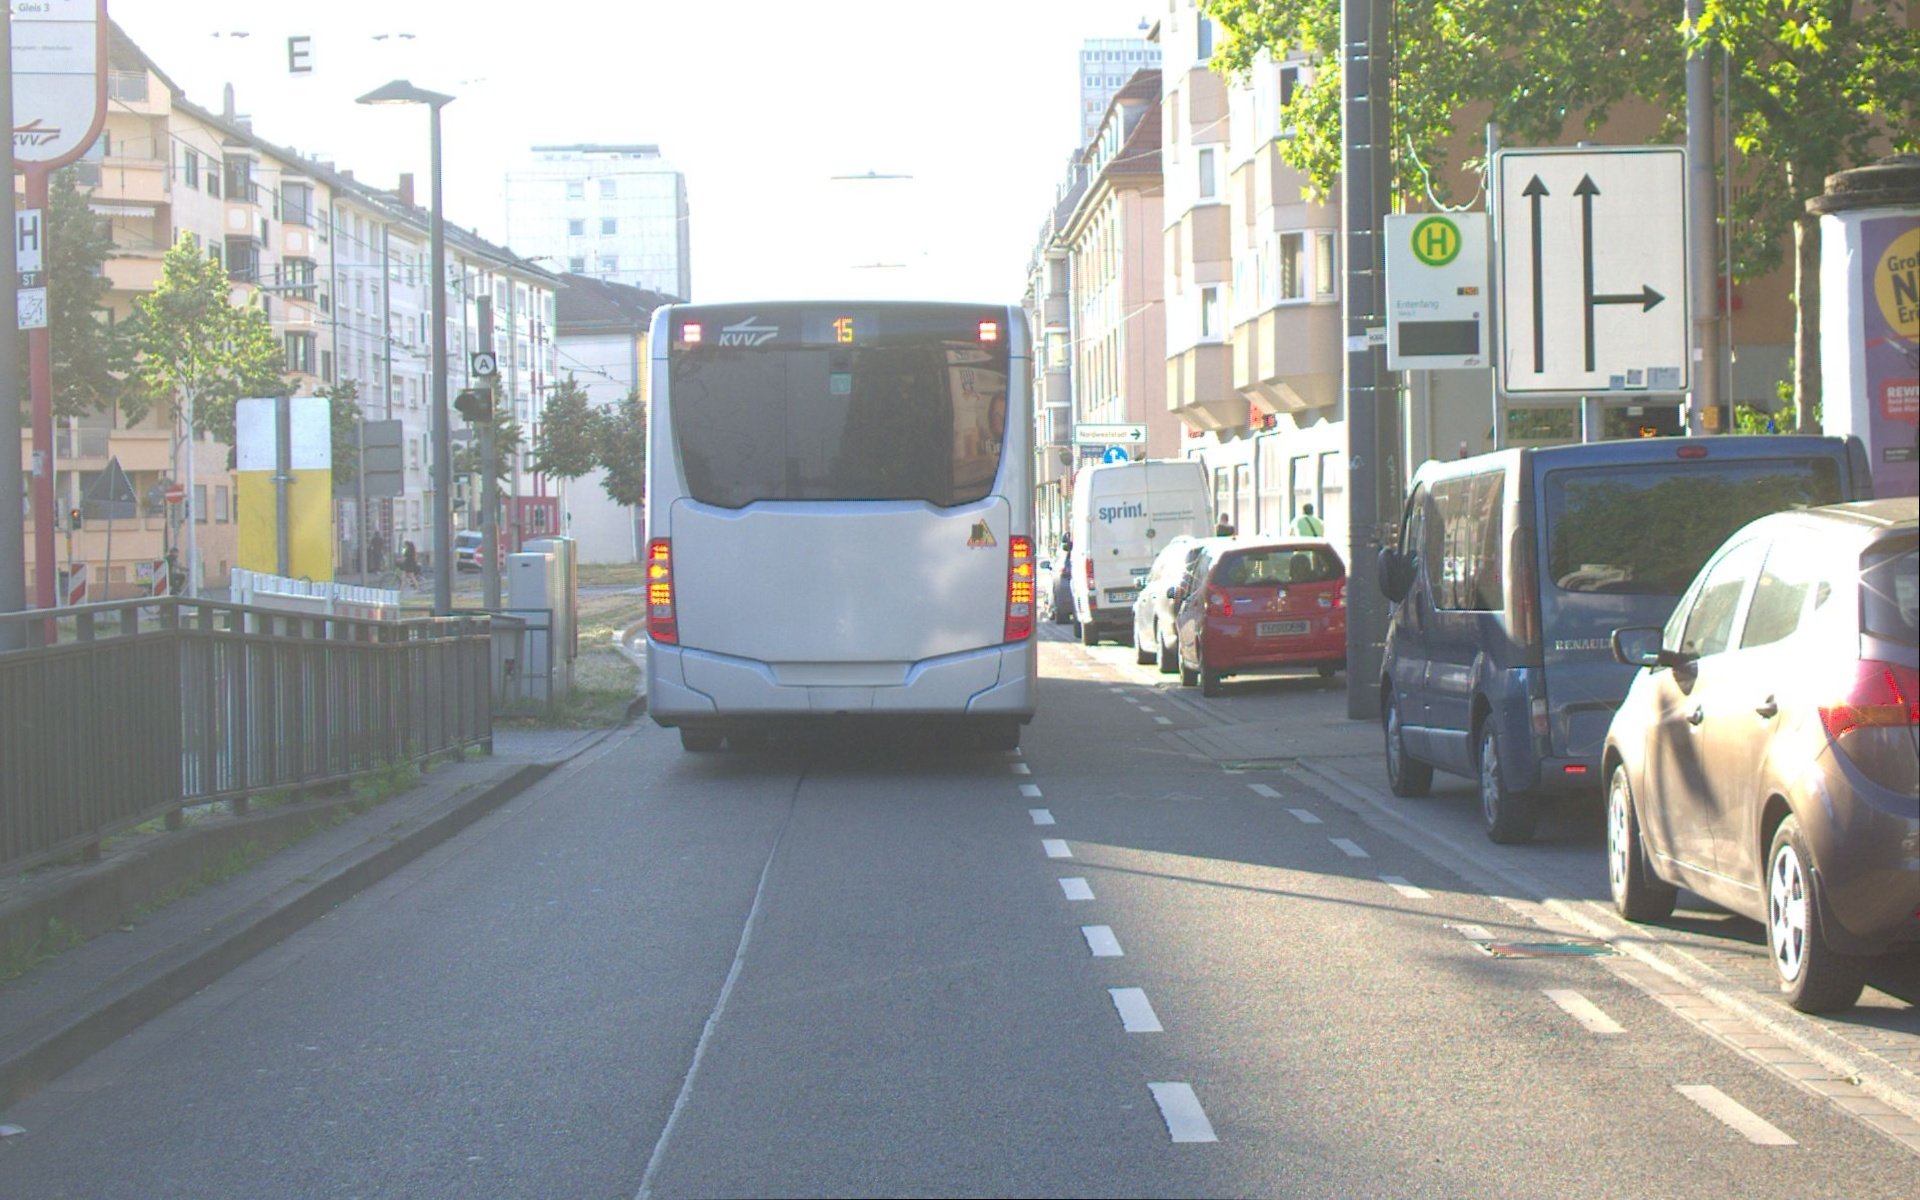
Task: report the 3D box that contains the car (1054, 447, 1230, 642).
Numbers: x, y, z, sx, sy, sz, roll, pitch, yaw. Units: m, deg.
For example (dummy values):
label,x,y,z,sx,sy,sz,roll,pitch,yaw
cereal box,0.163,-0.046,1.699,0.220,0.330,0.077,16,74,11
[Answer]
label,x,y,z,sx,sy,sz,roll,pitch,yaw
car,2.597,-0.827,50.376,2.017,2.542,5.785,-4,1,-1

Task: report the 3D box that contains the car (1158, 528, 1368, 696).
label,x,y,z,sx,sy,sz,roll,pitch,yaw
car,2.938,0.079,33.950,1.569,1.489,3.626,-3,1,-2

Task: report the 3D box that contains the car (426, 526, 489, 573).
label,x,y,z,sx,sy,sz,roll,pitch,yaw
car,-22.519,-2.276,154.171,1.994,2.007,4.000,-1,1,4

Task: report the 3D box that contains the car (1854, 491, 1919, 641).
label,x,y,z,sx,sy,sz,roll,pitch,yaw
car,11.086,-0.302,34.864,3.497,1.477,1.774,2,1,-2

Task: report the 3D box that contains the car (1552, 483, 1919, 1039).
label,x,y,z,sx,sy,sz,roll,pitch,yaw
car,3.357,0.420,12.082,1.795,1.625,4.000,-1,1,-1

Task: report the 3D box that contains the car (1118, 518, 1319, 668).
label,x,y,z,sx,sy,sz,roll,pitch,yaw
car,2.916,-0.119,39.669,1.696,1.525,4.653,-4,1,-2

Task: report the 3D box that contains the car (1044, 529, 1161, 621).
label,x,y,z,sx,sy,sz,roll,pitch,yaw
car,2.498,-0.478,61.284,1.838,1.531,4.230,-1,1,0

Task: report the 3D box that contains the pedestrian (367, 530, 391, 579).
label,x,y,z,sx,sy,sz,roll,pitch,yaw
pedestrian,-23.853,-1.878,141.192,0.887,2.007,0.789,-1,1,-7

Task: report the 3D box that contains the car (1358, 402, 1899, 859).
label,x,y,z,sx,sy,sz,roll,pitch,yaw
car,3.348,0.095,18.128,1.884,2.071,4.563,-1,1,-1

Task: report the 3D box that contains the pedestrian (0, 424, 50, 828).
label,x,y,z,sx,sy,sz,roll,pitch,yaw
pedestrian,-4.080,0.094,13.475,0.915,1.545,0.789,0,1,-9

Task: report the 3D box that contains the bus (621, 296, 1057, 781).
label,x,y,z,sx,sy,sz,roll,pitch,yaw
bus,-0.817,-0.478,26.175,2.738,3.045,8.854,0,1,-1

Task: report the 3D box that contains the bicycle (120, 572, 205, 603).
label,x,y,z,sx,sy,sz,roll,pitch,yaw
bicycle,-20.112,-0.321,86.736,2.062,0.730,0.763,-1,1,-11

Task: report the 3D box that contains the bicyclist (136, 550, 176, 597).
label,x,y,z,sx,sy,sz,roll,pitch,yaw
bicyclist,-20.271,-0.663,86.699,0.932,1.157,0.644,-1,1,-11
